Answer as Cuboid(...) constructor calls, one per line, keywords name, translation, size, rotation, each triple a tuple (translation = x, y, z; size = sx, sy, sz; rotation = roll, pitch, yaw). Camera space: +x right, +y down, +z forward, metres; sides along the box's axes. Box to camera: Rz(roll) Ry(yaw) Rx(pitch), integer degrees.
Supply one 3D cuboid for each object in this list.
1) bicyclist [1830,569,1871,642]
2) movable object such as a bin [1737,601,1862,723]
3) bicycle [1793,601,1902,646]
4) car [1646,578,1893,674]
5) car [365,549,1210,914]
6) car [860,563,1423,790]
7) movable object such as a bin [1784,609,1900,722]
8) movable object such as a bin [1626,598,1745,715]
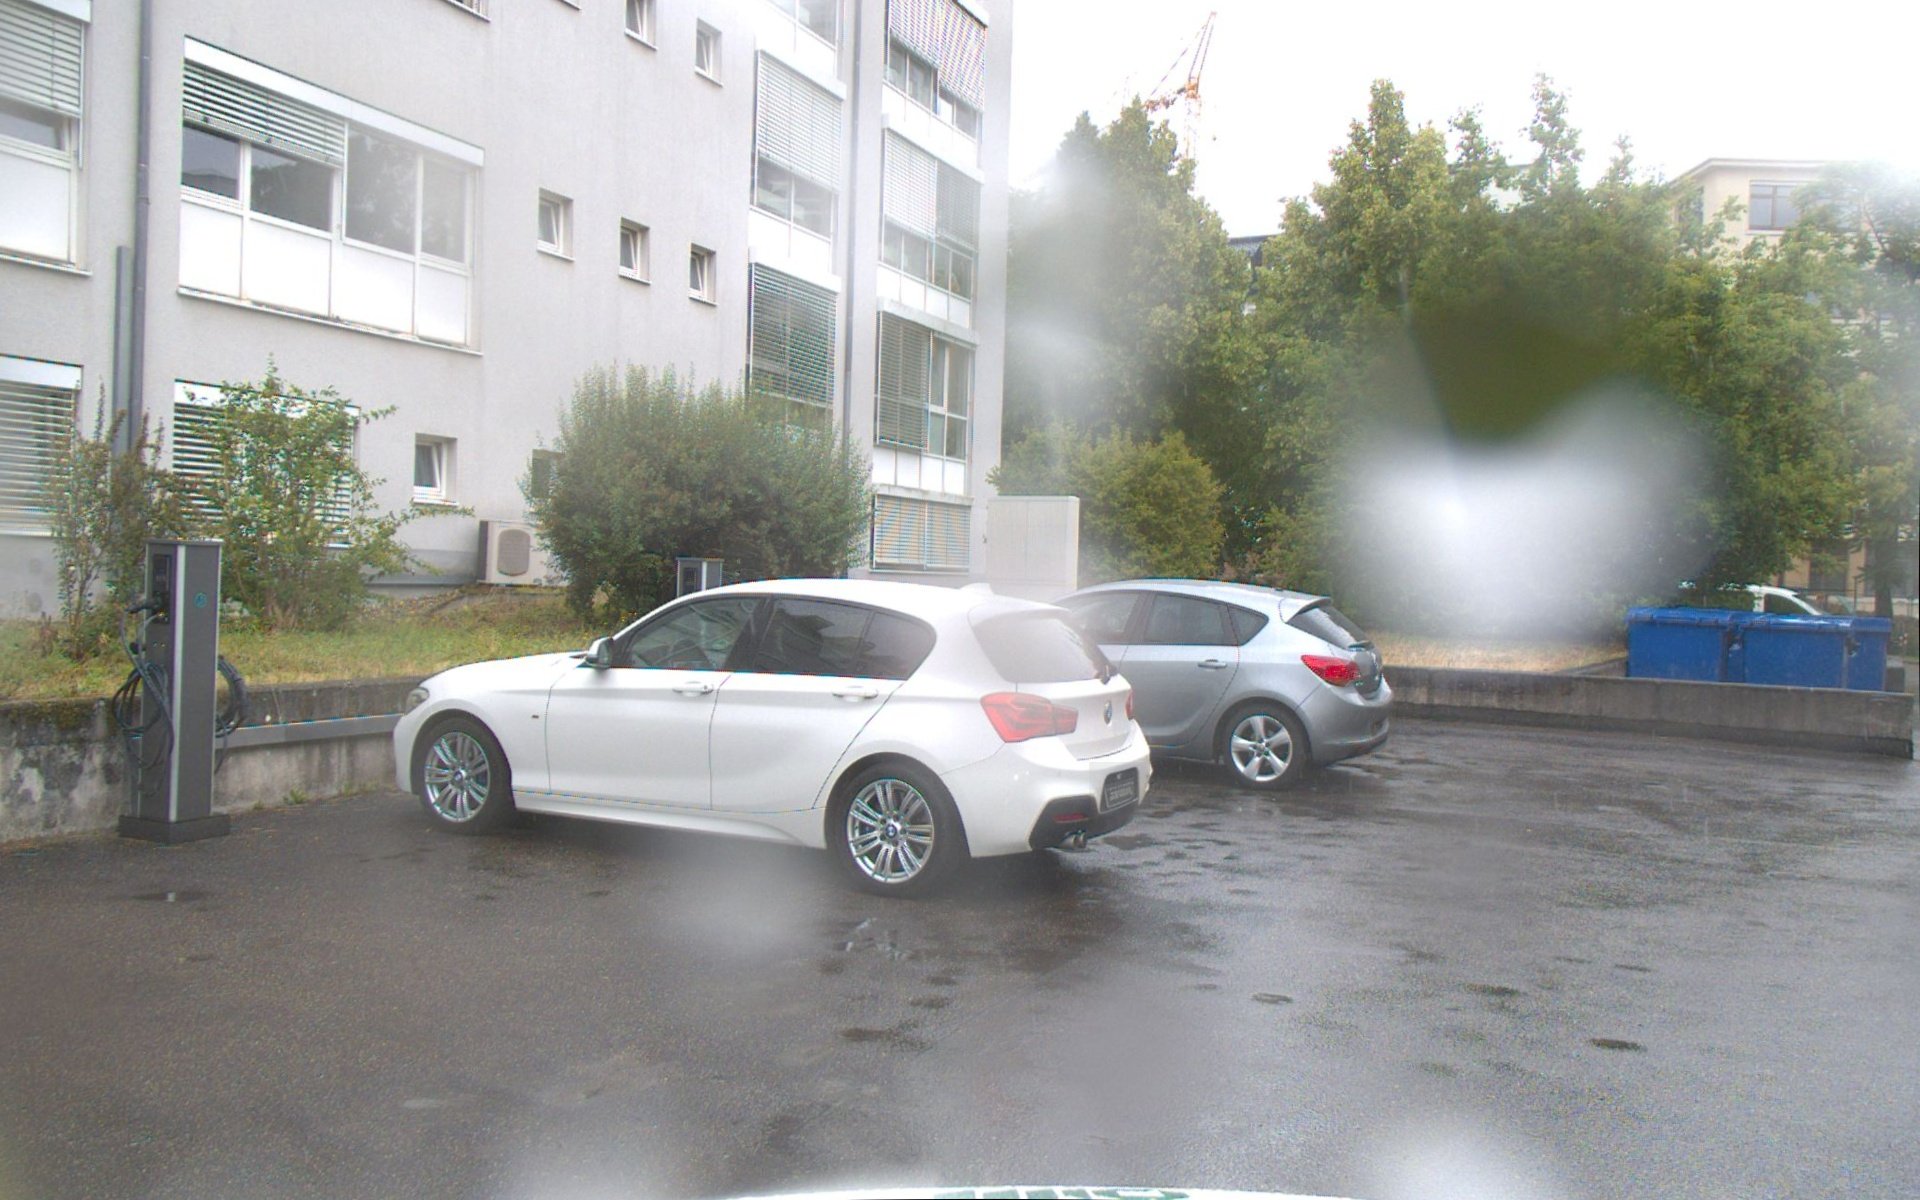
Cuboid(name="bicyclist", translation=(25.312, 0.145, 47.006), size=(0.692, 2.048, 0.746), rotation=(1, 1, 0))
Cuboid(name="movable object such as a bin", translation=(10.234, 0.742, 20.130), size=(1.284, 1.382, 1.902), rotation=(1, -2, 29))
Cuboid(name="bicycle", translation=(25.218, 0.653, 47.012), size=(2.675, 1.207, 0.737), rotation=(1, 1, 0))
Cuboid(name="car", translation=(17.328, 0.547, 35.447), size=(4.597, 1.915, 2.118), rotation=(1, -3, 32))
Cuboid(name="car", translation=(-0.936, 0.549, 9.007), size=(4.125, 1.515, 1.998), rotation=(2, 0, 26))
Cuboid(name="car", translation=(1.488, 0.531, 13.525), size=(4.125, 1.515, 1.998), rotation=(2, 0, 26))
Cuboid(name="movable object such as a bin", translation=(11.510, 0.841, 21.591), size=(1.284, 1.382, 1.902), rotation=(1, -2, 29))
Cuboid(name="movable object such as a bin", translation=(9.132, 0.705, 20.770), size=(1.206, 1.382, 1.967), rotation=(1, -2, 29))
